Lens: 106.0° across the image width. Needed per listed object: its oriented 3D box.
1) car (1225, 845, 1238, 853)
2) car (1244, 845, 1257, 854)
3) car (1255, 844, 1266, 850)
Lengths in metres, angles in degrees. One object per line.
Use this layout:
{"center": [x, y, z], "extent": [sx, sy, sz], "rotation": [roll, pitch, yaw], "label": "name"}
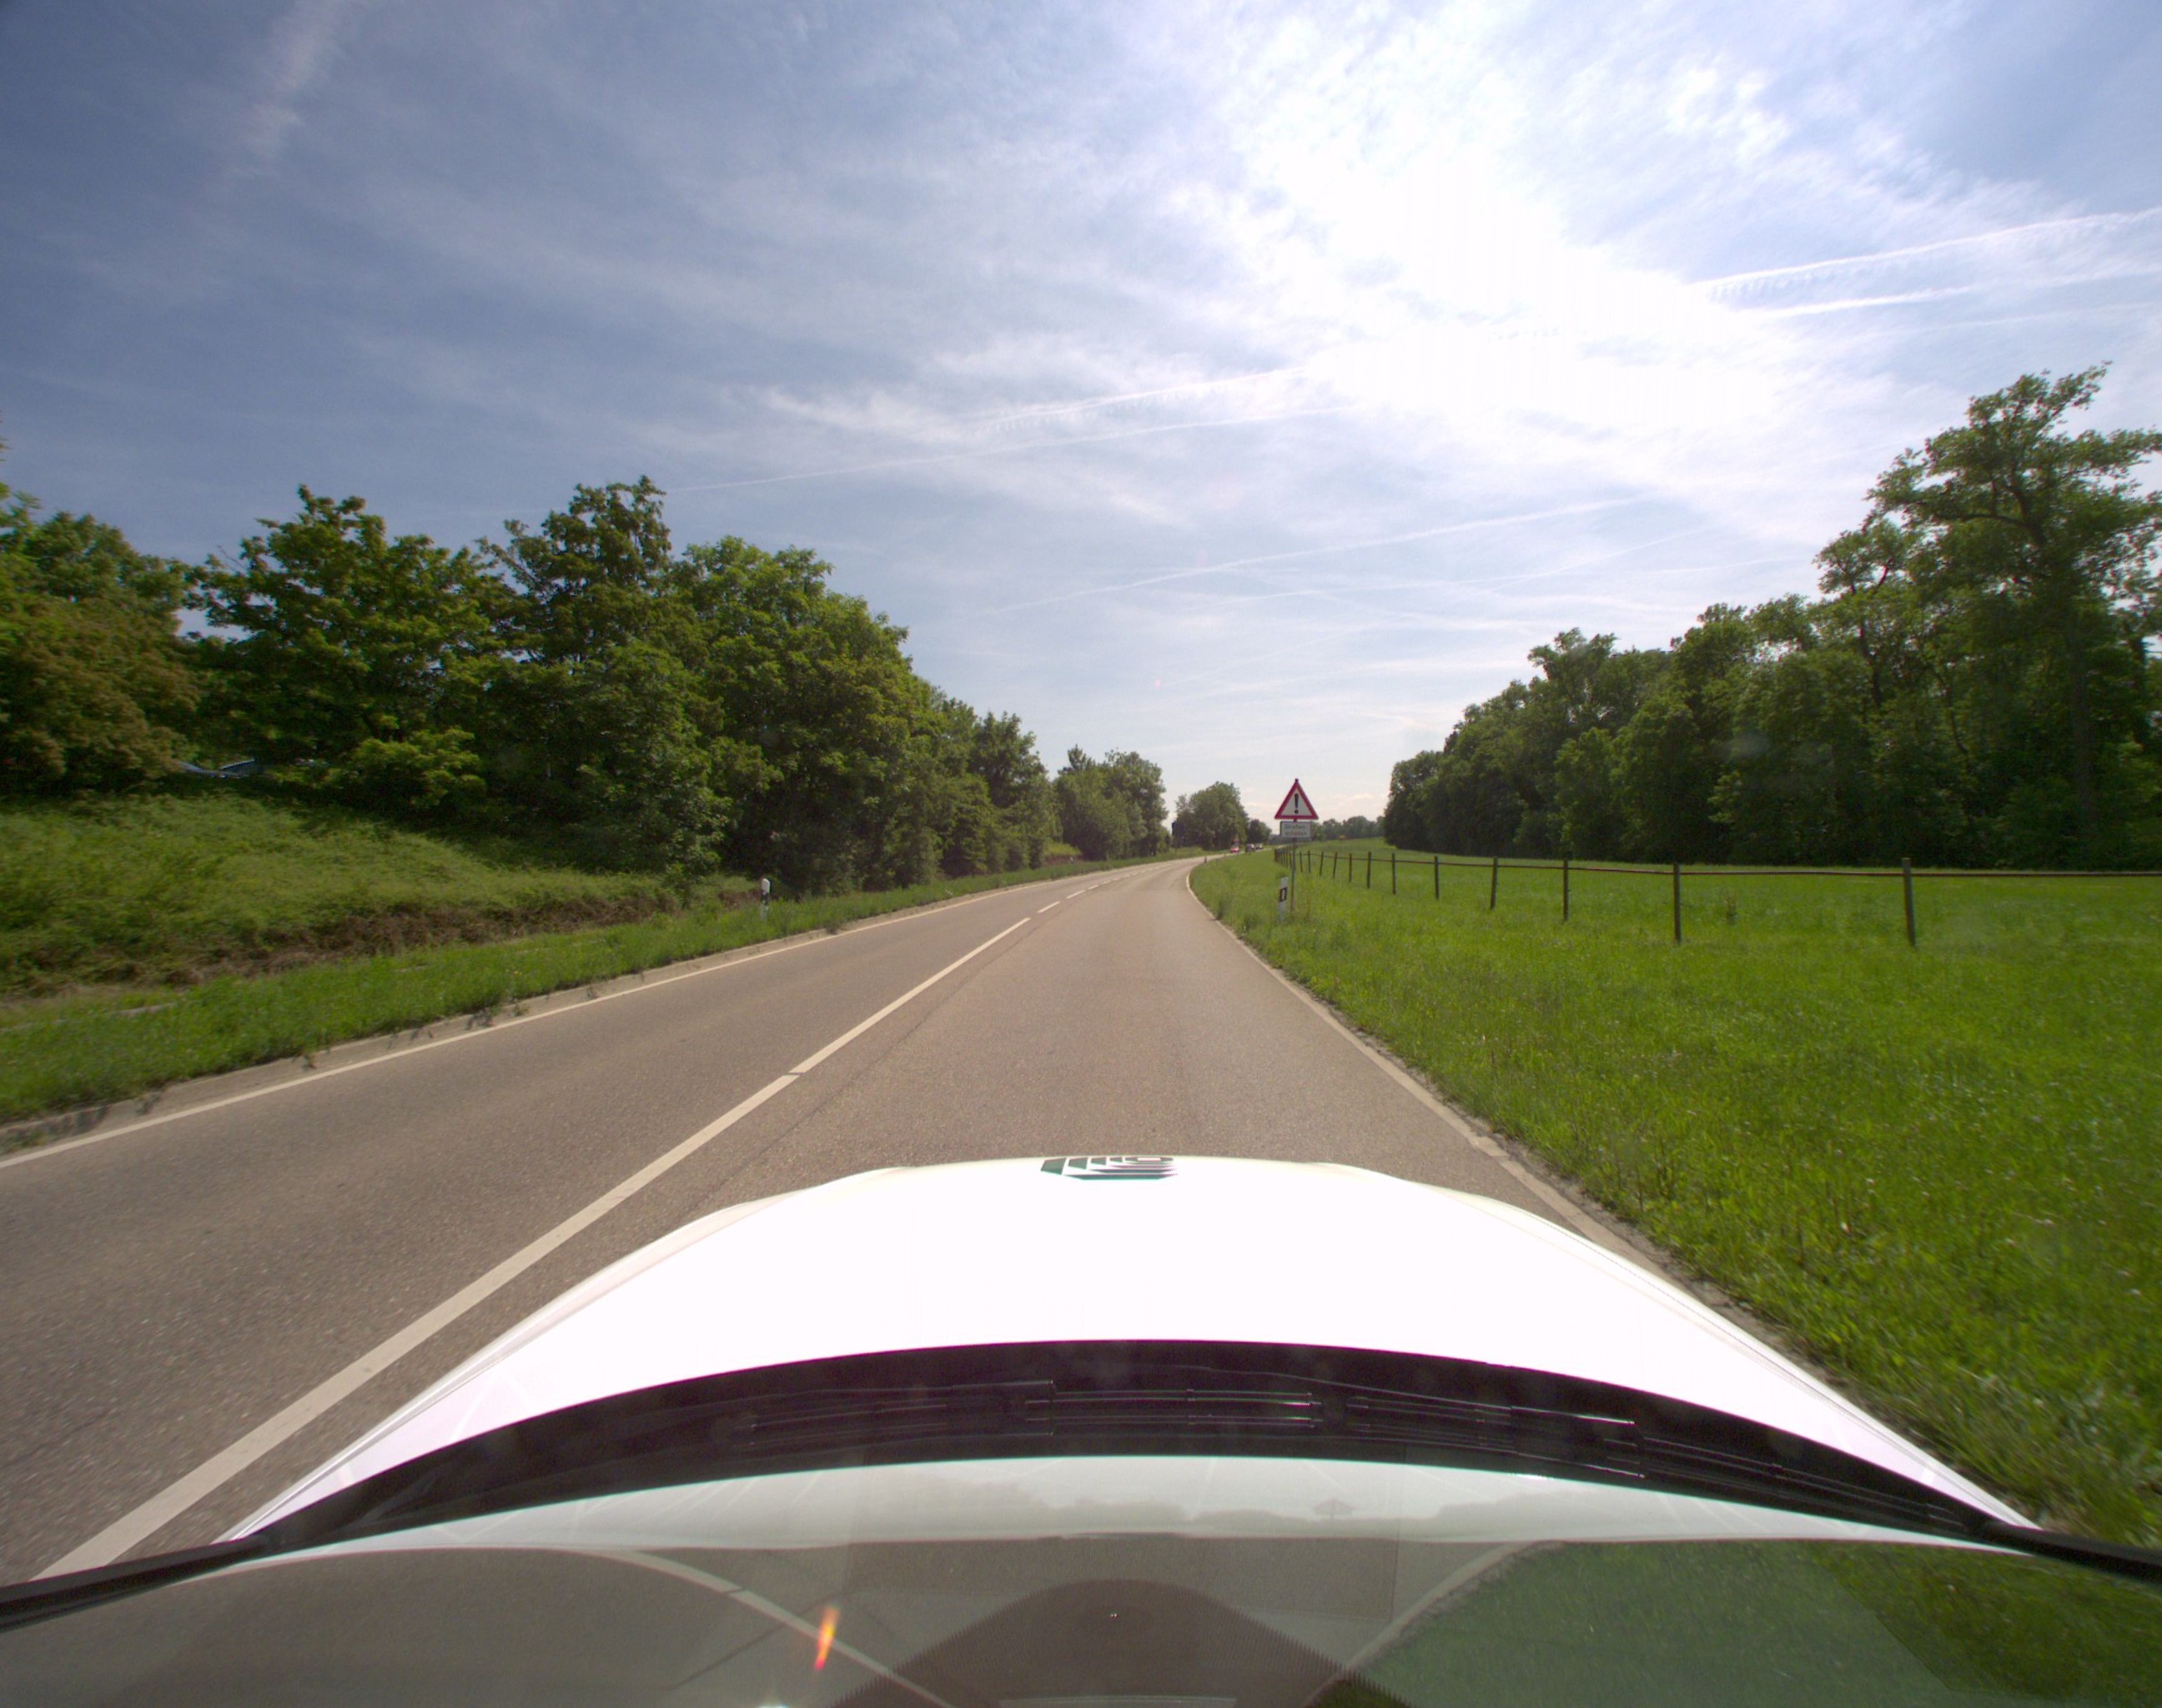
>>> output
{"center": [28.776, -0.977, 155.784], "extent": [1.806, 1.468, 4.019], "rotation": [-1, 1, 18], "label": "car"}
{"center": [32.479, -0.882, 156.098], "extent": [1.977, 1.574, 4.019], "rotation": [-1, 0, 18], "label": "car"}
{"center": [44.389, -1.672, 201.156], "extent": [1.804, 1.468, 4.024], "rotation": [0, 1, 26], "label": "car"}
